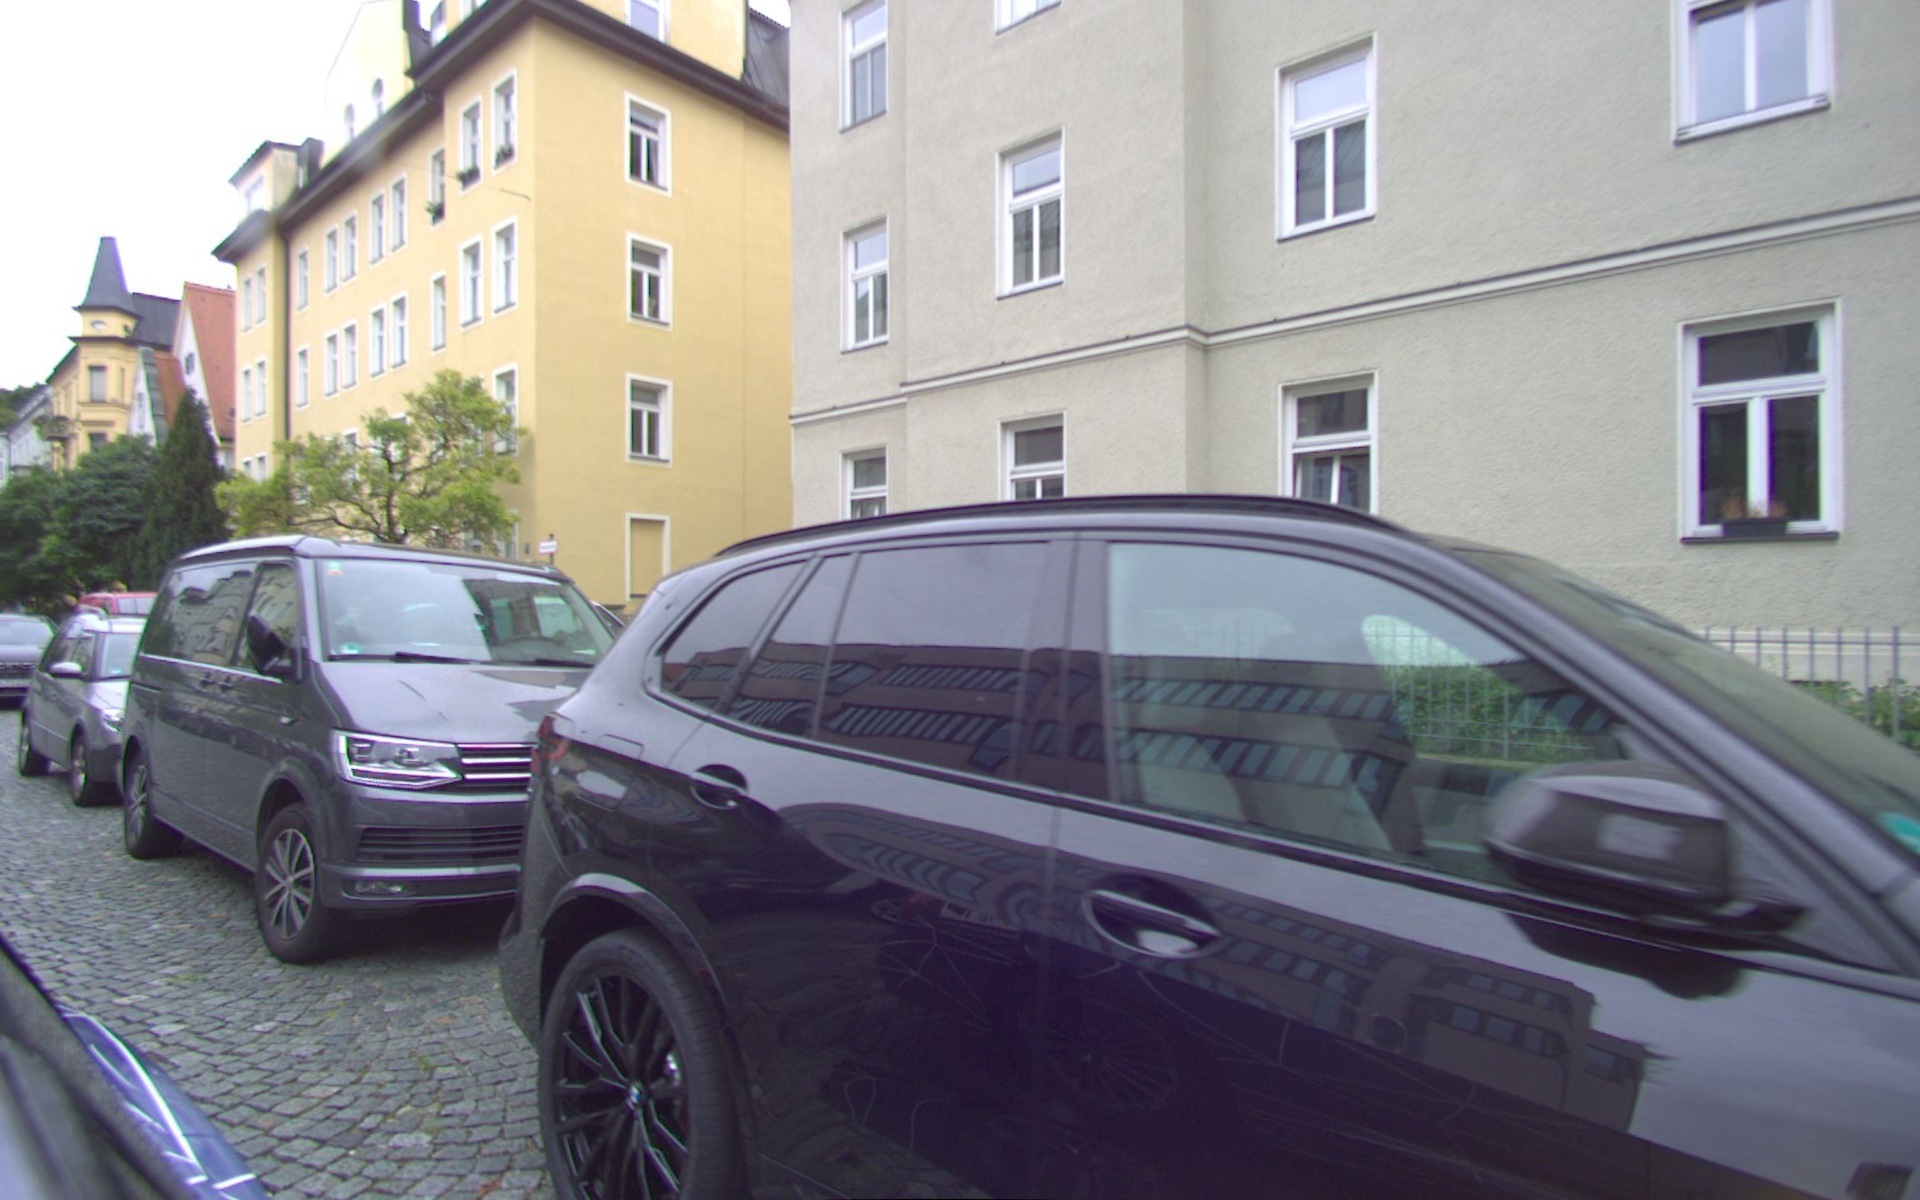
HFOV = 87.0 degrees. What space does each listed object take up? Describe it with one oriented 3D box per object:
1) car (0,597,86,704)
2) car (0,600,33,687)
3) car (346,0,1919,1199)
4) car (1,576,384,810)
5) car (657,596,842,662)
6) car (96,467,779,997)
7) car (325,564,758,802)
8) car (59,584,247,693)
[{"bbox_3d":[-17.464,0.854,18.227,4.754,1.748,1.897,-1,-5,42],"label":"car"},{"bbox_3d":[-22.383,0.925,22.570,5.173,1.823,1.985,-1,-2,42],"label":"car"},{"bbox_3d":[0.939,0.503,1.903,5.173,1.932,1.972,-1,-4,40],"label":"car"},{"bbox_3d":[-7.457,0.762,9.675,4.398,1.748,1.847,-1,-3,39],"label":"car"},{"bbox_3d":[-4.920,0.661,24.023,1.833,1.434,4.025,0,-1,41],"label":"car"},{"bbox_3d":[-3.364,0.538,5.987,4.824,1.932,1.854,-1,-3,40],"label":"car"},{"bbox_3d":[-4.238,0.633,9.867,4.654,1.748,1.925,-1,2,40],"label":"car"},{"bbox_3d":[-16.675,0.717,20.804,5.326,1.945,1.974,-1,1,40],"label":"car"}]
